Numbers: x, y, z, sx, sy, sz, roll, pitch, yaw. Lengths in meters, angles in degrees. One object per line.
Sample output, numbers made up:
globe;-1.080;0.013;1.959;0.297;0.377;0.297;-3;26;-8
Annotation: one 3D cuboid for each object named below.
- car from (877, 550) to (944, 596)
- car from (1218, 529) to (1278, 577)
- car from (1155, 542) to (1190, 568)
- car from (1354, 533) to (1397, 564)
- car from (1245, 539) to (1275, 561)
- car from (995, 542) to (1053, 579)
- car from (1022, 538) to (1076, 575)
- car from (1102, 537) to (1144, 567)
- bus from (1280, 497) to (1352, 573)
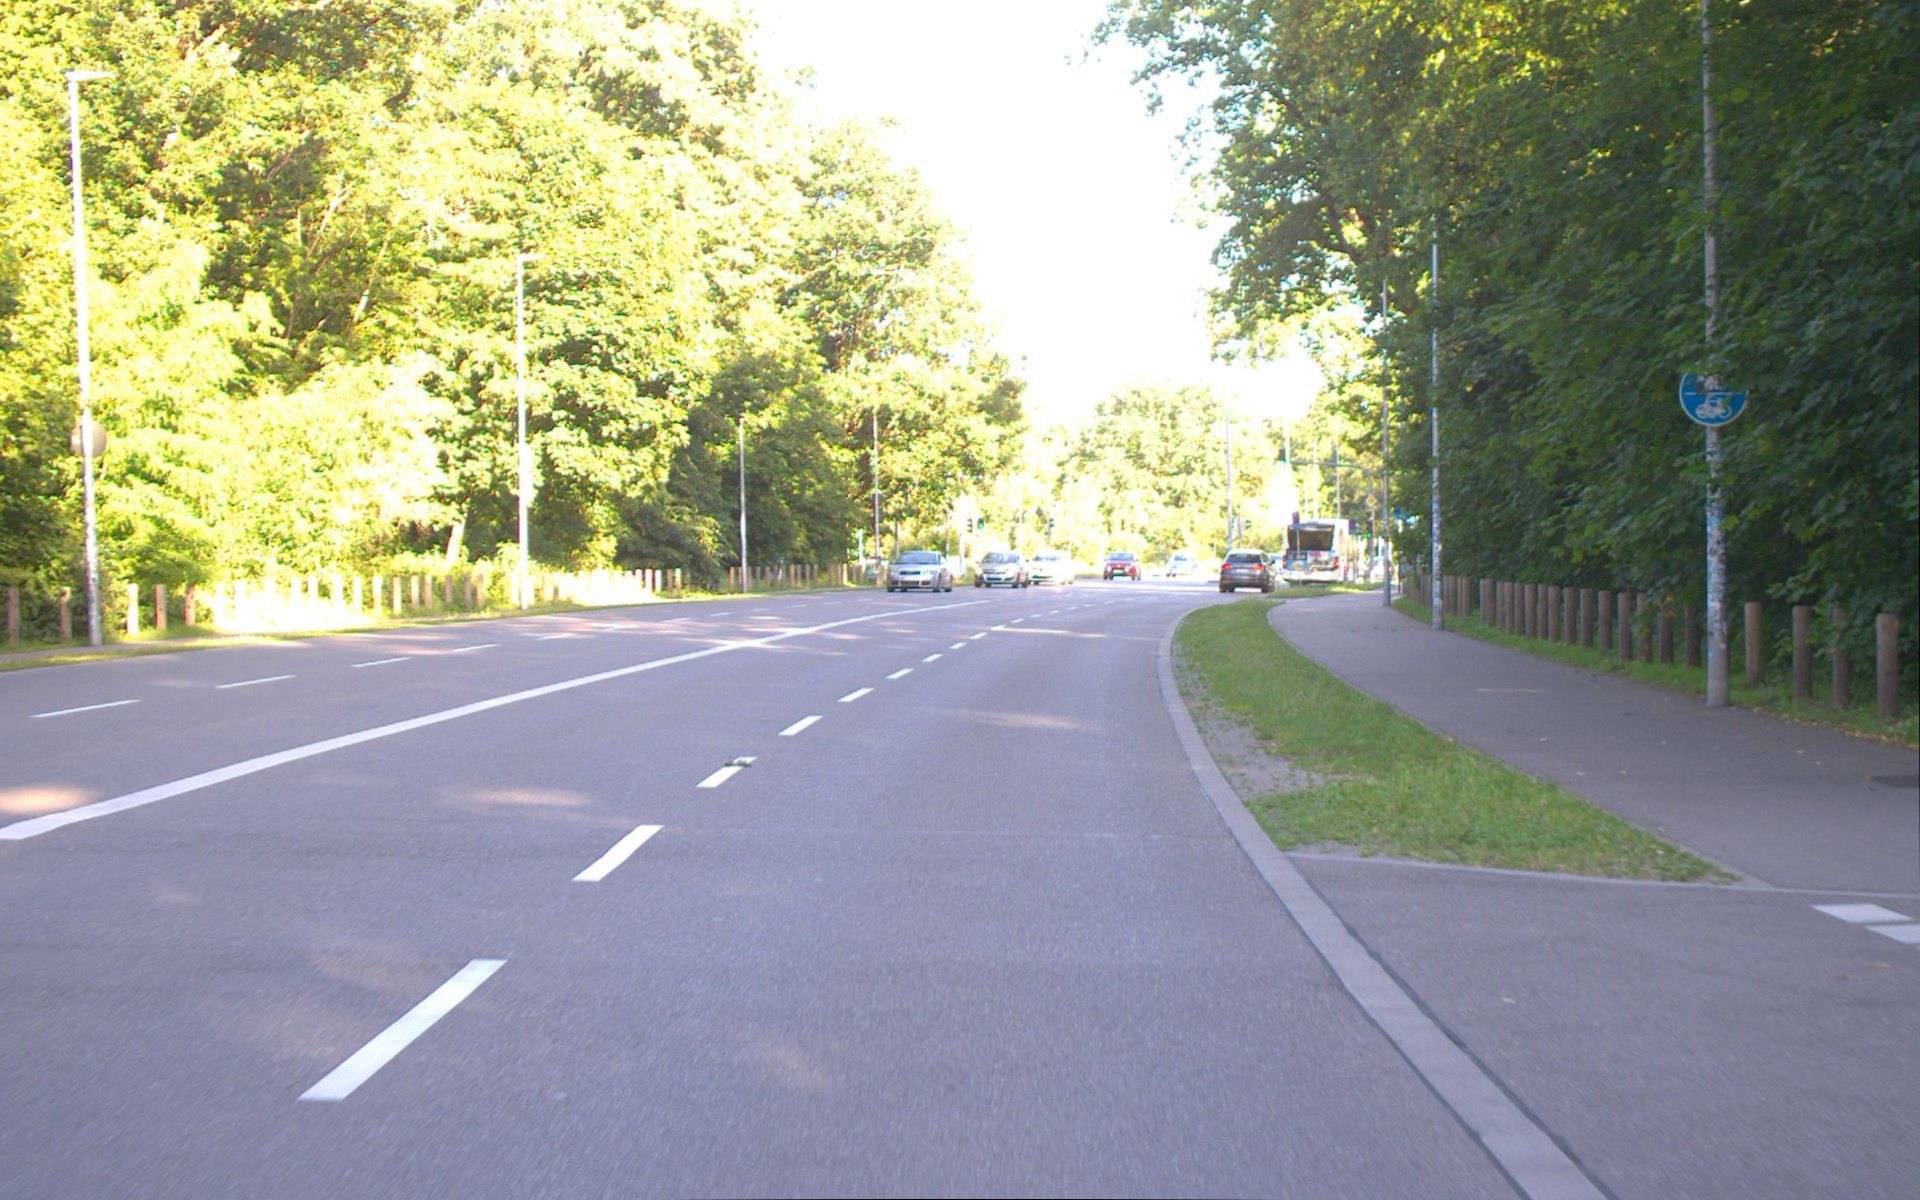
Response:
car;-1.633;-0.916;114.986;1.780;1.403;4.165;0;2;6
car;11.200;-1.832;133.571;1.881;1.759;3.998;-1;1;11
car;12.682;-2.682;205.071;1.656;1.503;3.999;-1;1;9
car;23.489;-2.925;194.236;1.864;1.678;3.770;-1;1;15
car;21.393;-3.570;245.042;1.711;1.459;4.099;1;1;11
car;2.556;-1.575;136.050;1.780;1.459;4.273;0;1;8
car;3.869;-1.905;148.979;1.783;1.517;4.396;0;1;9
car;8.611;-2.530;181.461;1.664;1.513;3.805;-1;1;11
bus;16.136;-2.971;155.496;2.606;3.357;7.972;0;2;11
